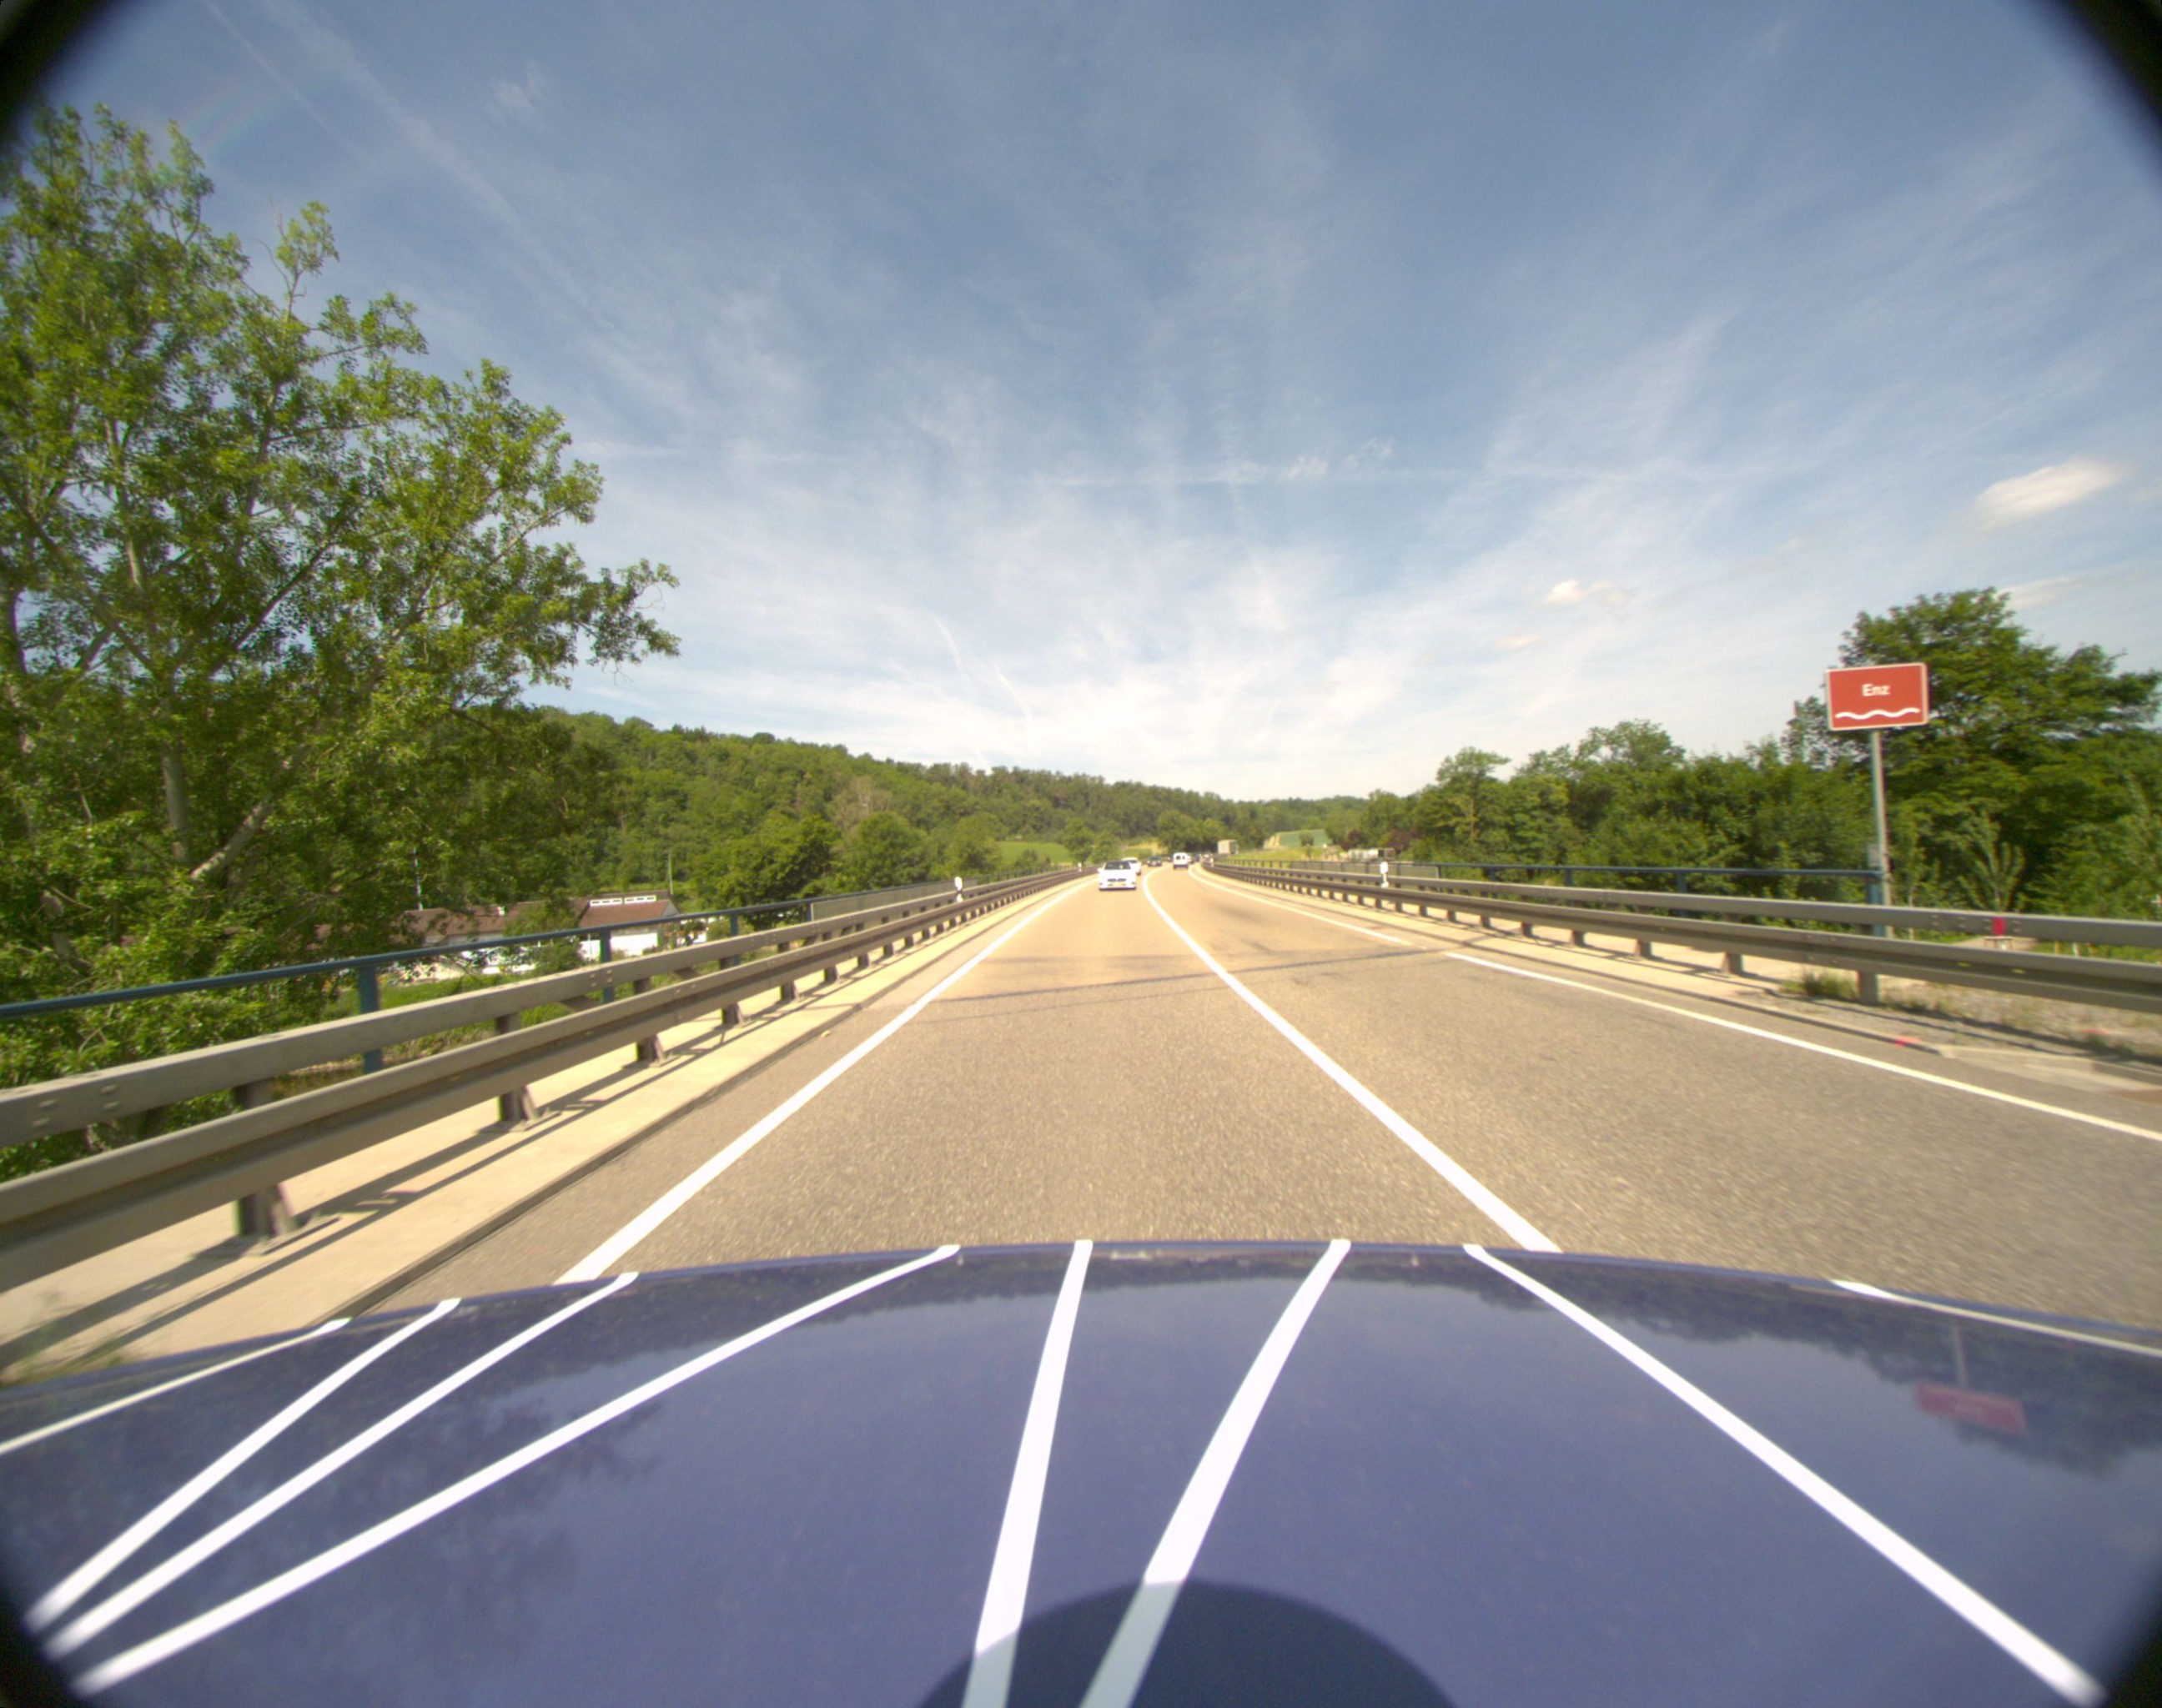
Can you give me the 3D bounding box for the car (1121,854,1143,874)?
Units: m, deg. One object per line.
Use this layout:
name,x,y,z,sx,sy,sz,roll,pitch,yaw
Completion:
car,4.295,0.793,64.299,1.717,1.523,4.001,-2,1,4

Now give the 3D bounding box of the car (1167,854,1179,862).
car,16.665,0.713,137.545,1.741,1.445,4.039,-2,0,11

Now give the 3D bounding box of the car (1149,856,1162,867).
car,10.595,1.008,107.517,1.742,1.445,4.037,-2,0,5

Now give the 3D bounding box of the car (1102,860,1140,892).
car,1.970,1.052,38.147,1.742,1.445,4.036,-2,0,2

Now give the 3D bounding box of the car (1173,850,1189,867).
car,11.275,0.516,85.518,1.742,1.764,4.038,-2,0,7

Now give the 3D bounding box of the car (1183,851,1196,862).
car,16.448,0.427,115.216,1.742,1.602,3.810,-2,0,7
